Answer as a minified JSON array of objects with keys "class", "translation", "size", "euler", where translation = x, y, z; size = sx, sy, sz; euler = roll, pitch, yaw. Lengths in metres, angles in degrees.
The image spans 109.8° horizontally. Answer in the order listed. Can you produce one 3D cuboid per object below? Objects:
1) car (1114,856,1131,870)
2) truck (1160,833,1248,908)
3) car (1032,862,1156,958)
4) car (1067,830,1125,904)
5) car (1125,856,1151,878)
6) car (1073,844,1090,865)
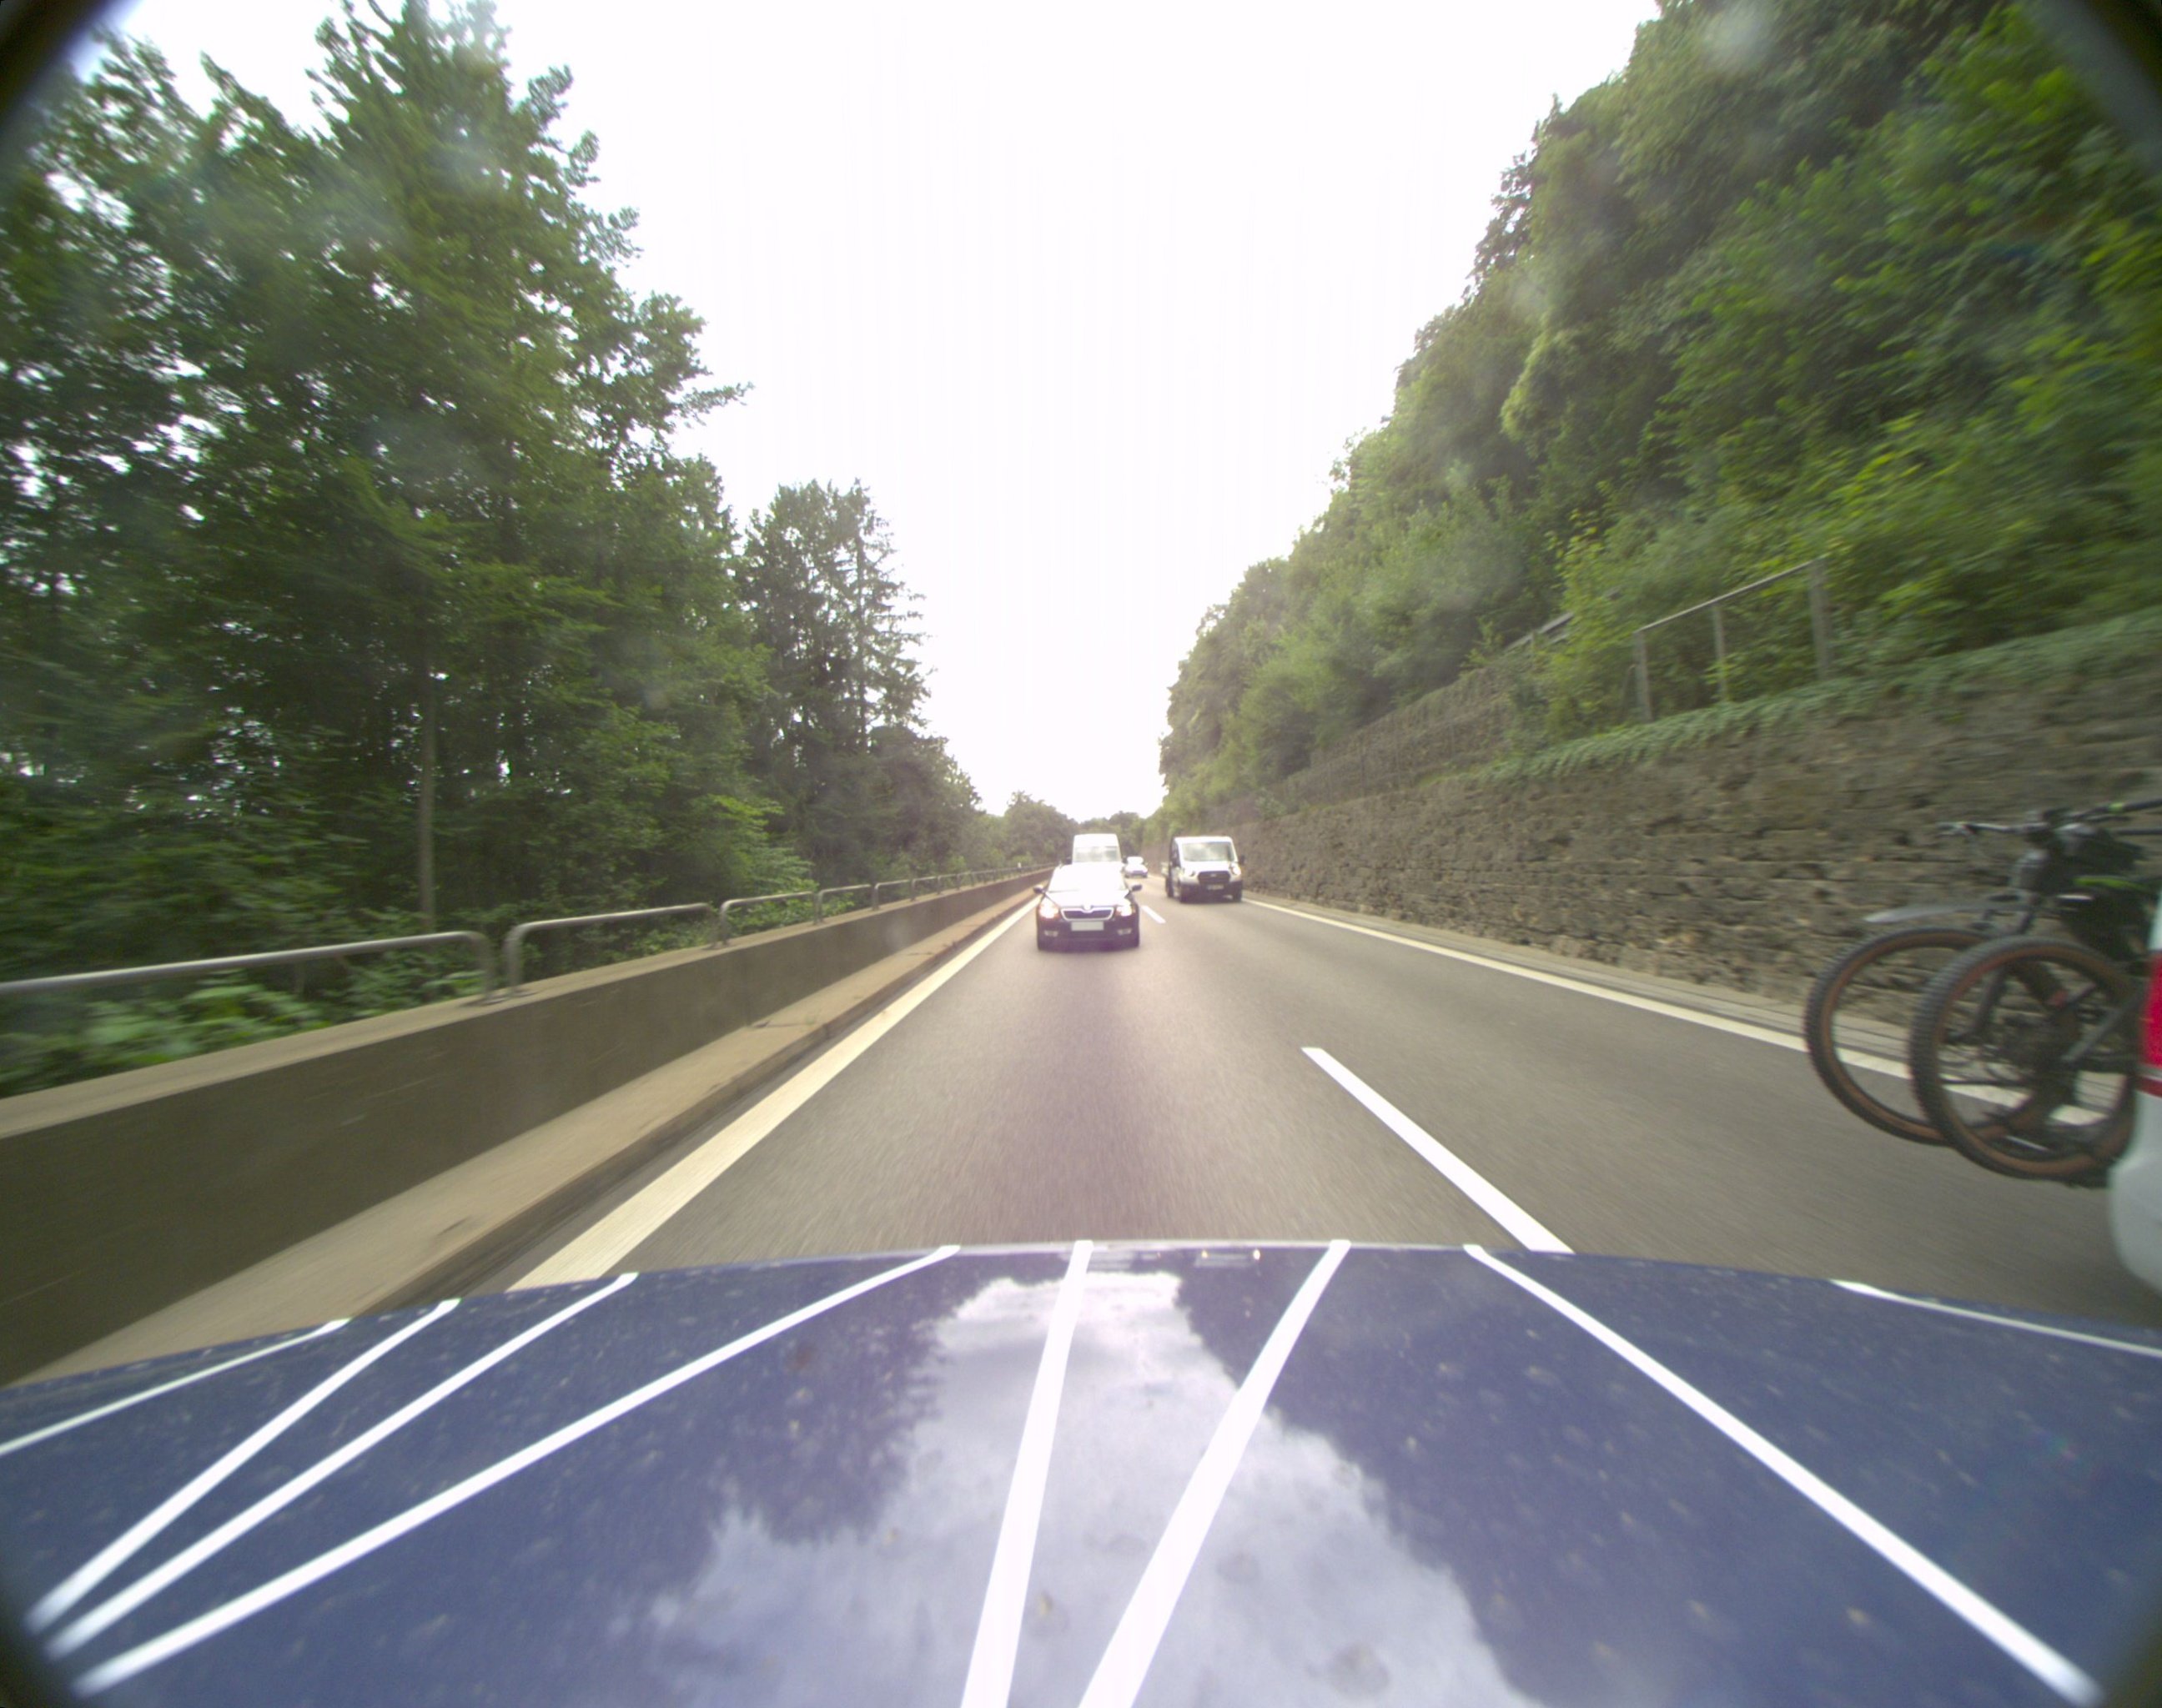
[{"class":"car","translation":[4.742,1.019,87.020],"size":[1.711,1.568,4.602],"euler":[-2,0,1]},{"class":"truck","translation":[4.200,0.523,27.036],"size":[1.998,2.266,6.586],"euler":[-2,0,0]},{"class":"car","translation":[0.154,0.928,14.994],"size":[1.913,1.391,5.696],"euler":[-3,0,-1]},{"class":"car","translation":[0.670,0.428,29.495],"size":[1.998,2.550,5.919],"euler":[-1,1,3]},{"class":"car","translation":[4.466,1.008,60.453],"size":[1.711,1.568,4.602],"euler":[-2,0,1]},{"class":"car","translation":[0.081,0.106,91.471],"size":[1.998,2.396,4.000],"euler":[-2,0,1]}]
